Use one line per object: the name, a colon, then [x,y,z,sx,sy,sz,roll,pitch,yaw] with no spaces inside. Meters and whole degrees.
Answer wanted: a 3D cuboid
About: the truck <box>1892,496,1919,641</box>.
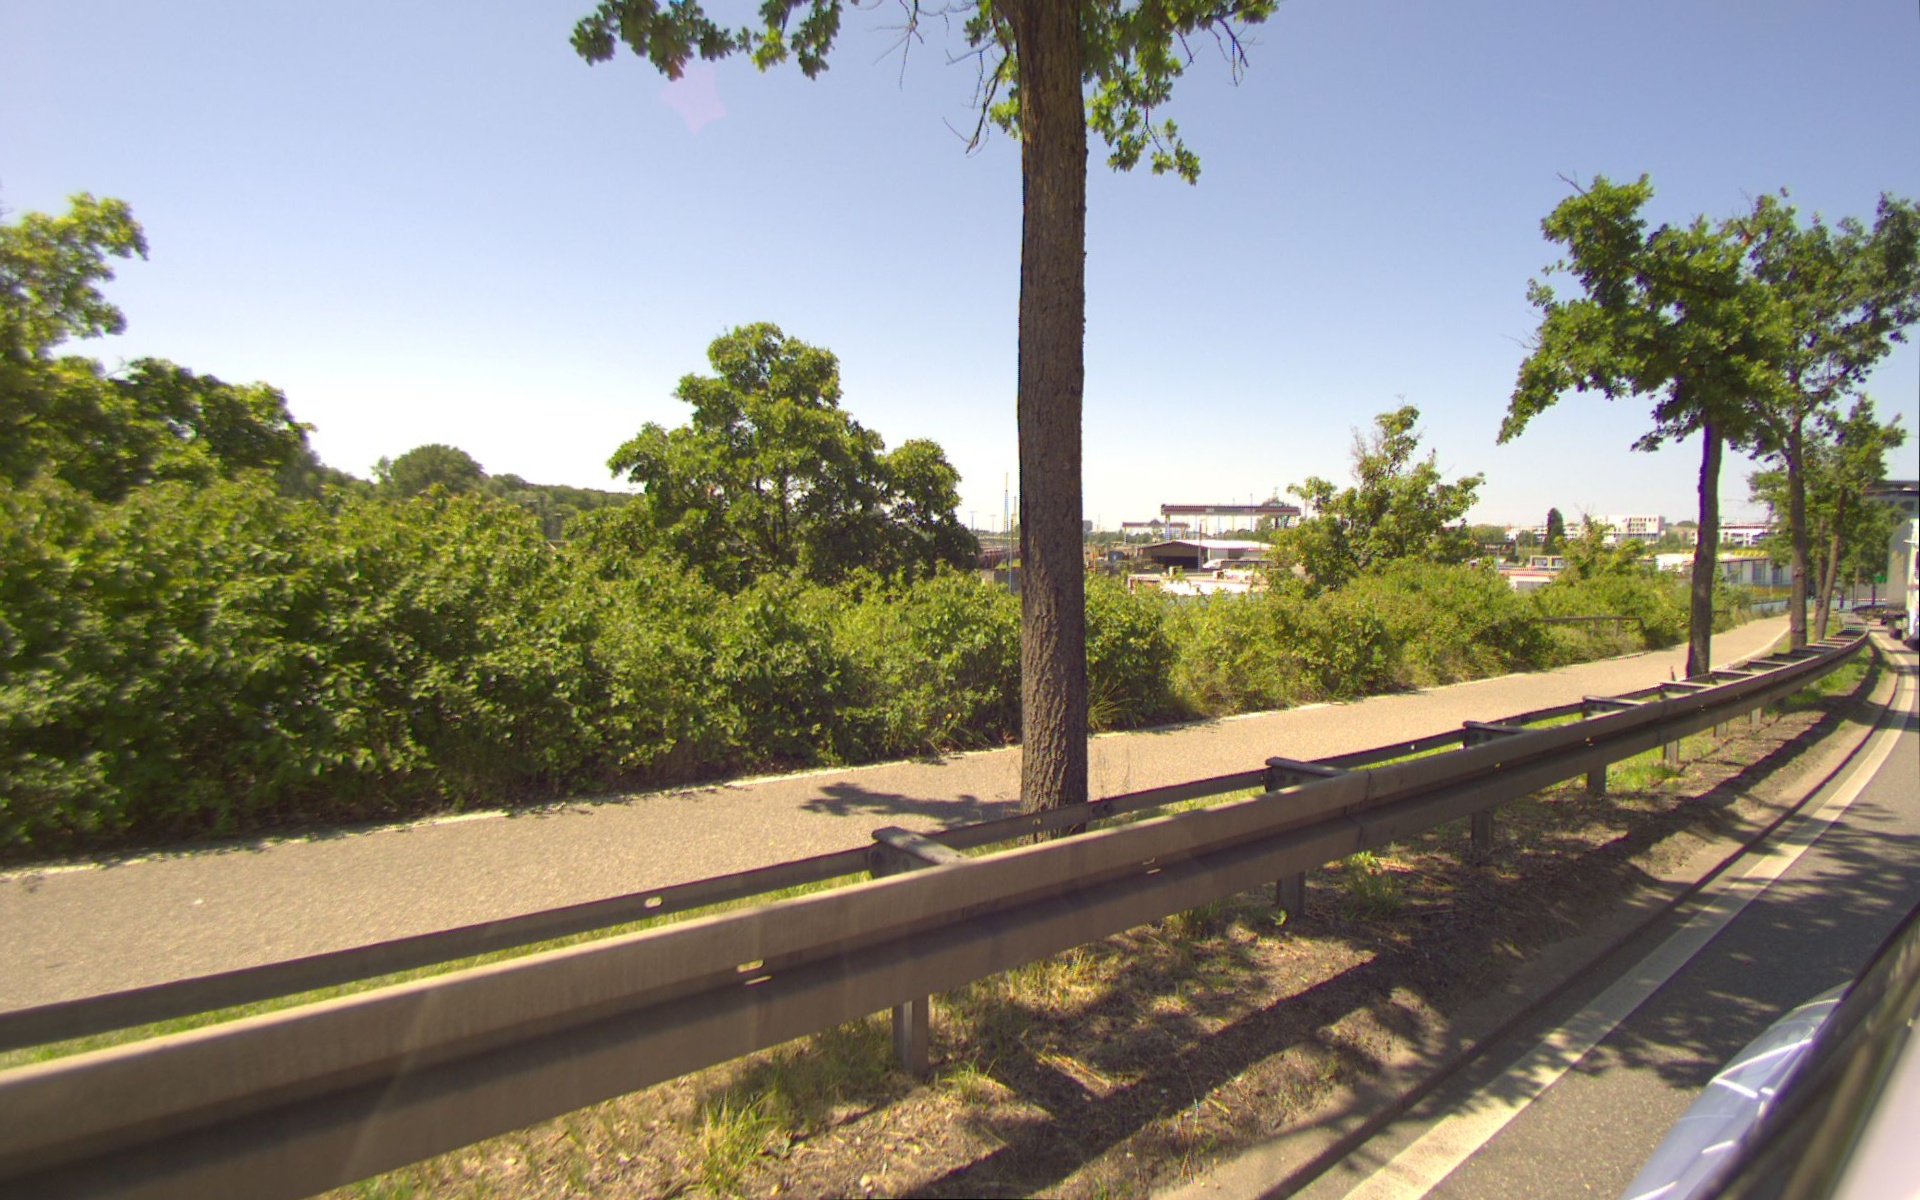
truck: [34.471,-0.978,34.723,3.059,4.223,16.662,0,1,41]
